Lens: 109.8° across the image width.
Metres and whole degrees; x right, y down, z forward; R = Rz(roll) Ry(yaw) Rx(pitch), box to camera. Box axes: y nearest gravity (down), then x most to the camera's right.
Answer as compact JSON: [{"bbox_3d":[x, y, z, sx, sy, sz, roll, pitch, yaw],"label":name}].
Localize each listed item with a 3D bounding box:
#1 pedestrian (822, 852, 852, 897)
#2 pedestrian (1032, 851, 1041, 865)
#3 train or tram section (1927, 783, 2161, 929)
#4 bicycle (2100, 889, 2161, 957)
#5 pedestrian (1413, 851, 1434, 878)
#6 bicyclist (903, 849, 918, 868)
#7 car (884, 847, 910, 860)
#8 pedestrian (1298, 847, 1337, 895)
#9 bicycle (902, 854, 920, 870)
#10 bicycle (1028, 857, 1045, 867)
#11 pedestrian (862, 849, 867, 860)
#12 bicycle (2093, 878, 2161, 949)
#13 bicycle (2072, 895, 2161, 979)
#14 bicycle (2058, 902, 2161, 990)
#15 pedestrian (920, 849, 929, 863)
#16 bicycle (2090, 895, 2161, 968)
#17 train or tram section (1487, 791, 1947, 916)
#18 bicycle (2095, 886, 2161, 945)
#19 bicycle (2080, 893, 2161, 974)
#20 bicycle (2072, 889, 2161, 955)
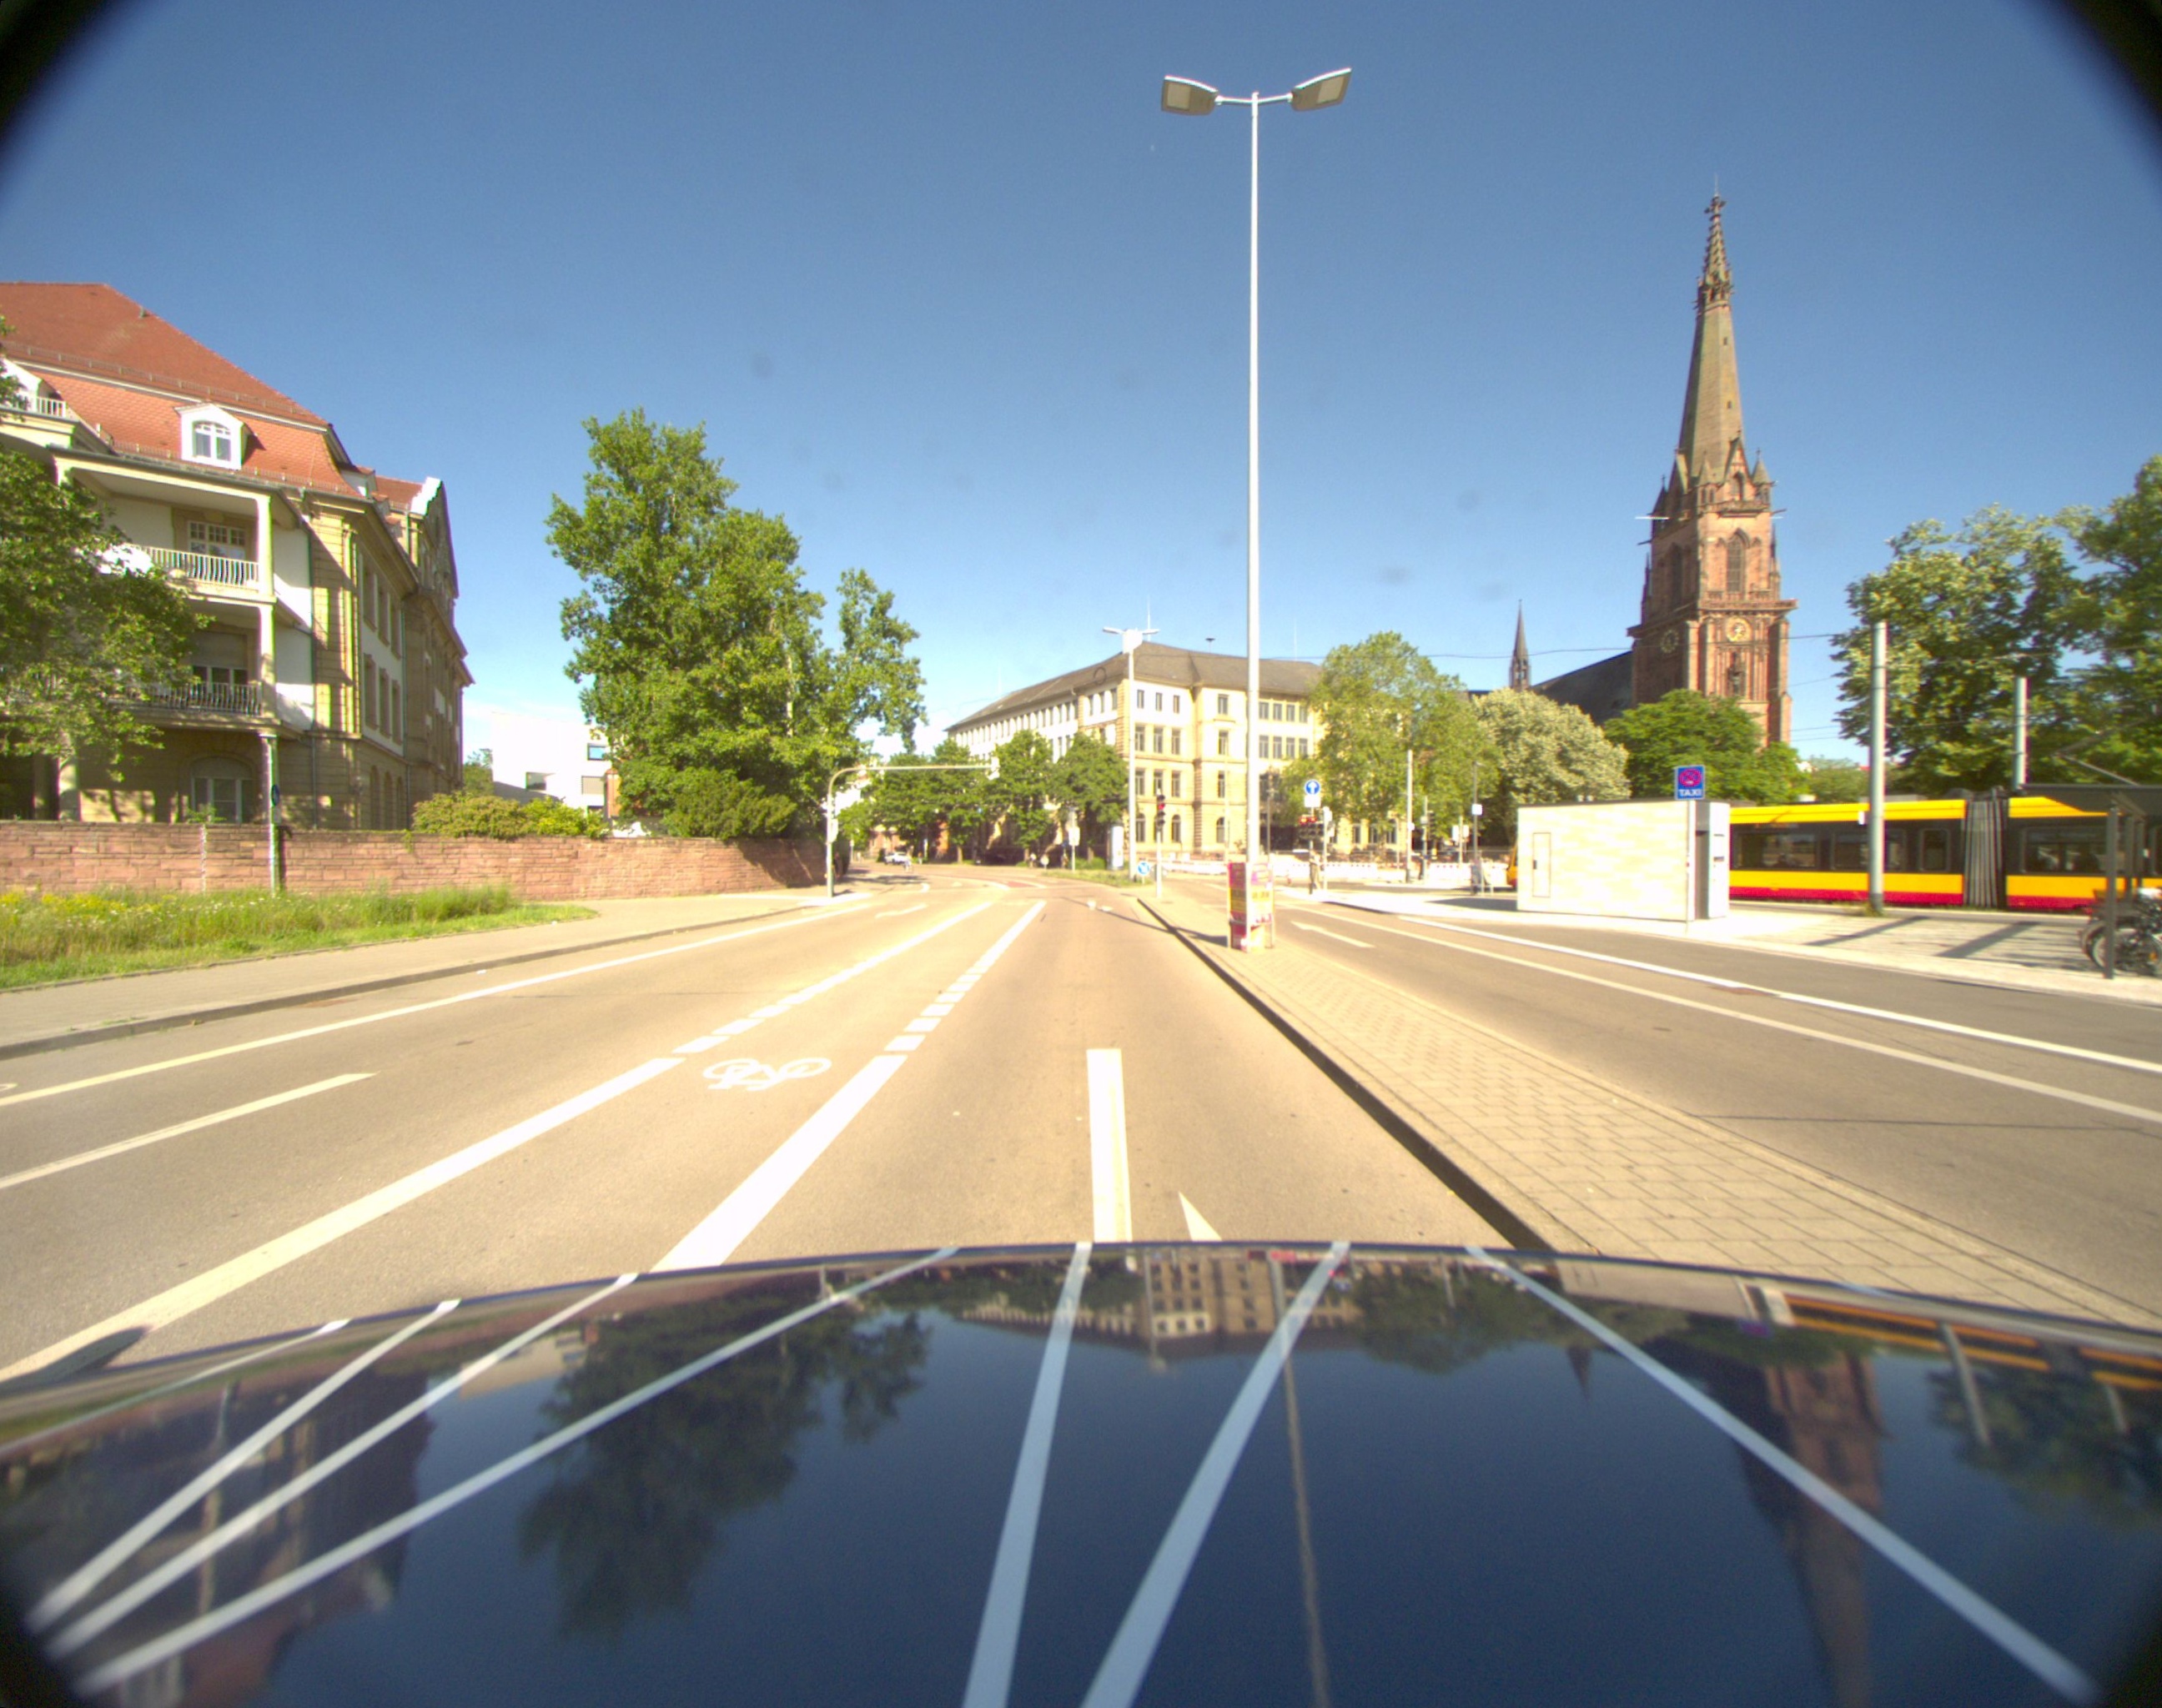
[{"bbox_3d":[-10.298,0.844,32.105,0.960,1.839,0.731,1,1,4],"label":"pedestrian"},{"bbox_3d":[-4.459,0.407,75.572,0.597,1.394,0.644,-3,2,-38],"label":"pedestrian"},{"bbox_3d":[28.866,0.057,17.460,2.806,3.580,12.294,-1,1,-35],"label":"train or tram section"},{"bbox_3d":[17.168,1.095,11.627,0.630,1.002,1.826,-1,1,-32],"label":"bicycle"},{"bbox_3d":[22.187,0.647,49.212,0.807,1.731,0.933,-1,1,-35],"label":"pedestrian"},{"bbox_3d":[-14.342,0.342,63.922,0.871,1.551,1.277,-1,1,-29],"label":"bicyclist"},{"bbox_3d":[-22.504,-0.055,93.021,1.851,1.543,4.324,1,1,-31],"label":"car"},{"bbox_3d":[9.246,0.654,29.753,1.229,1.845,0.827,0,1,-6],"label":"pedestrian"},{"bbox_3d":[-14.327,0.661,63.916,0.763,1.360,2.731,-1,1,-28],"label":"bicycle"},{"bbox_3d":[-4.421,0.776,75.546,0.602,1.000,1.982,-3,1,-39],"label":"bicycle"},{"bbox_3d":[-34.716,0.023,121.964,0.758,1.802,0.979,0,1,-18],"label":"pedestrian"},{"bbox_3d":[18.950,1.043,13.051,0.630,1.173,1.826,-1,1,-32],"label":"bicycle"},{"bbox_3d":[14.674,1.126,10.064,0.630,1.059,1.826,-1,1,-32],"label":"bicycle"},{"bbox_3d":[13.939,1.202,9.595,0.702,1.002,1.863,-1,2,-32],"label":"bicycle"},{"bbox_3d":[-20.755,0.262,100.659,0.759,1.802,0.977,-1,1,-40],"label":"pedestrian"},{"bbox_3d":[16.182,1.157,11.002,0.630,1.002,1.826,-1,1,-32],"label":"bicycle"},{"bbox_3d":[21.816,-0.062,27.640,2.806,3.580,12.504,-1,1,-35],"label":"train or tram section"},{"bbox_3d":[19.529,1.119,13.460,0.630,1.002,1.826,-1,1,-32],"label":"bicycle"},{"bbox_3d":[15.144,1.112,10.330,0.574,1.045,1.826,-1,1,-32],"label":"bicycle"},{"bbox_3d":[17.816,1.132,12.463,0.630,1.002,1.826,-1,1,-32],"label":"bicycle"}]
